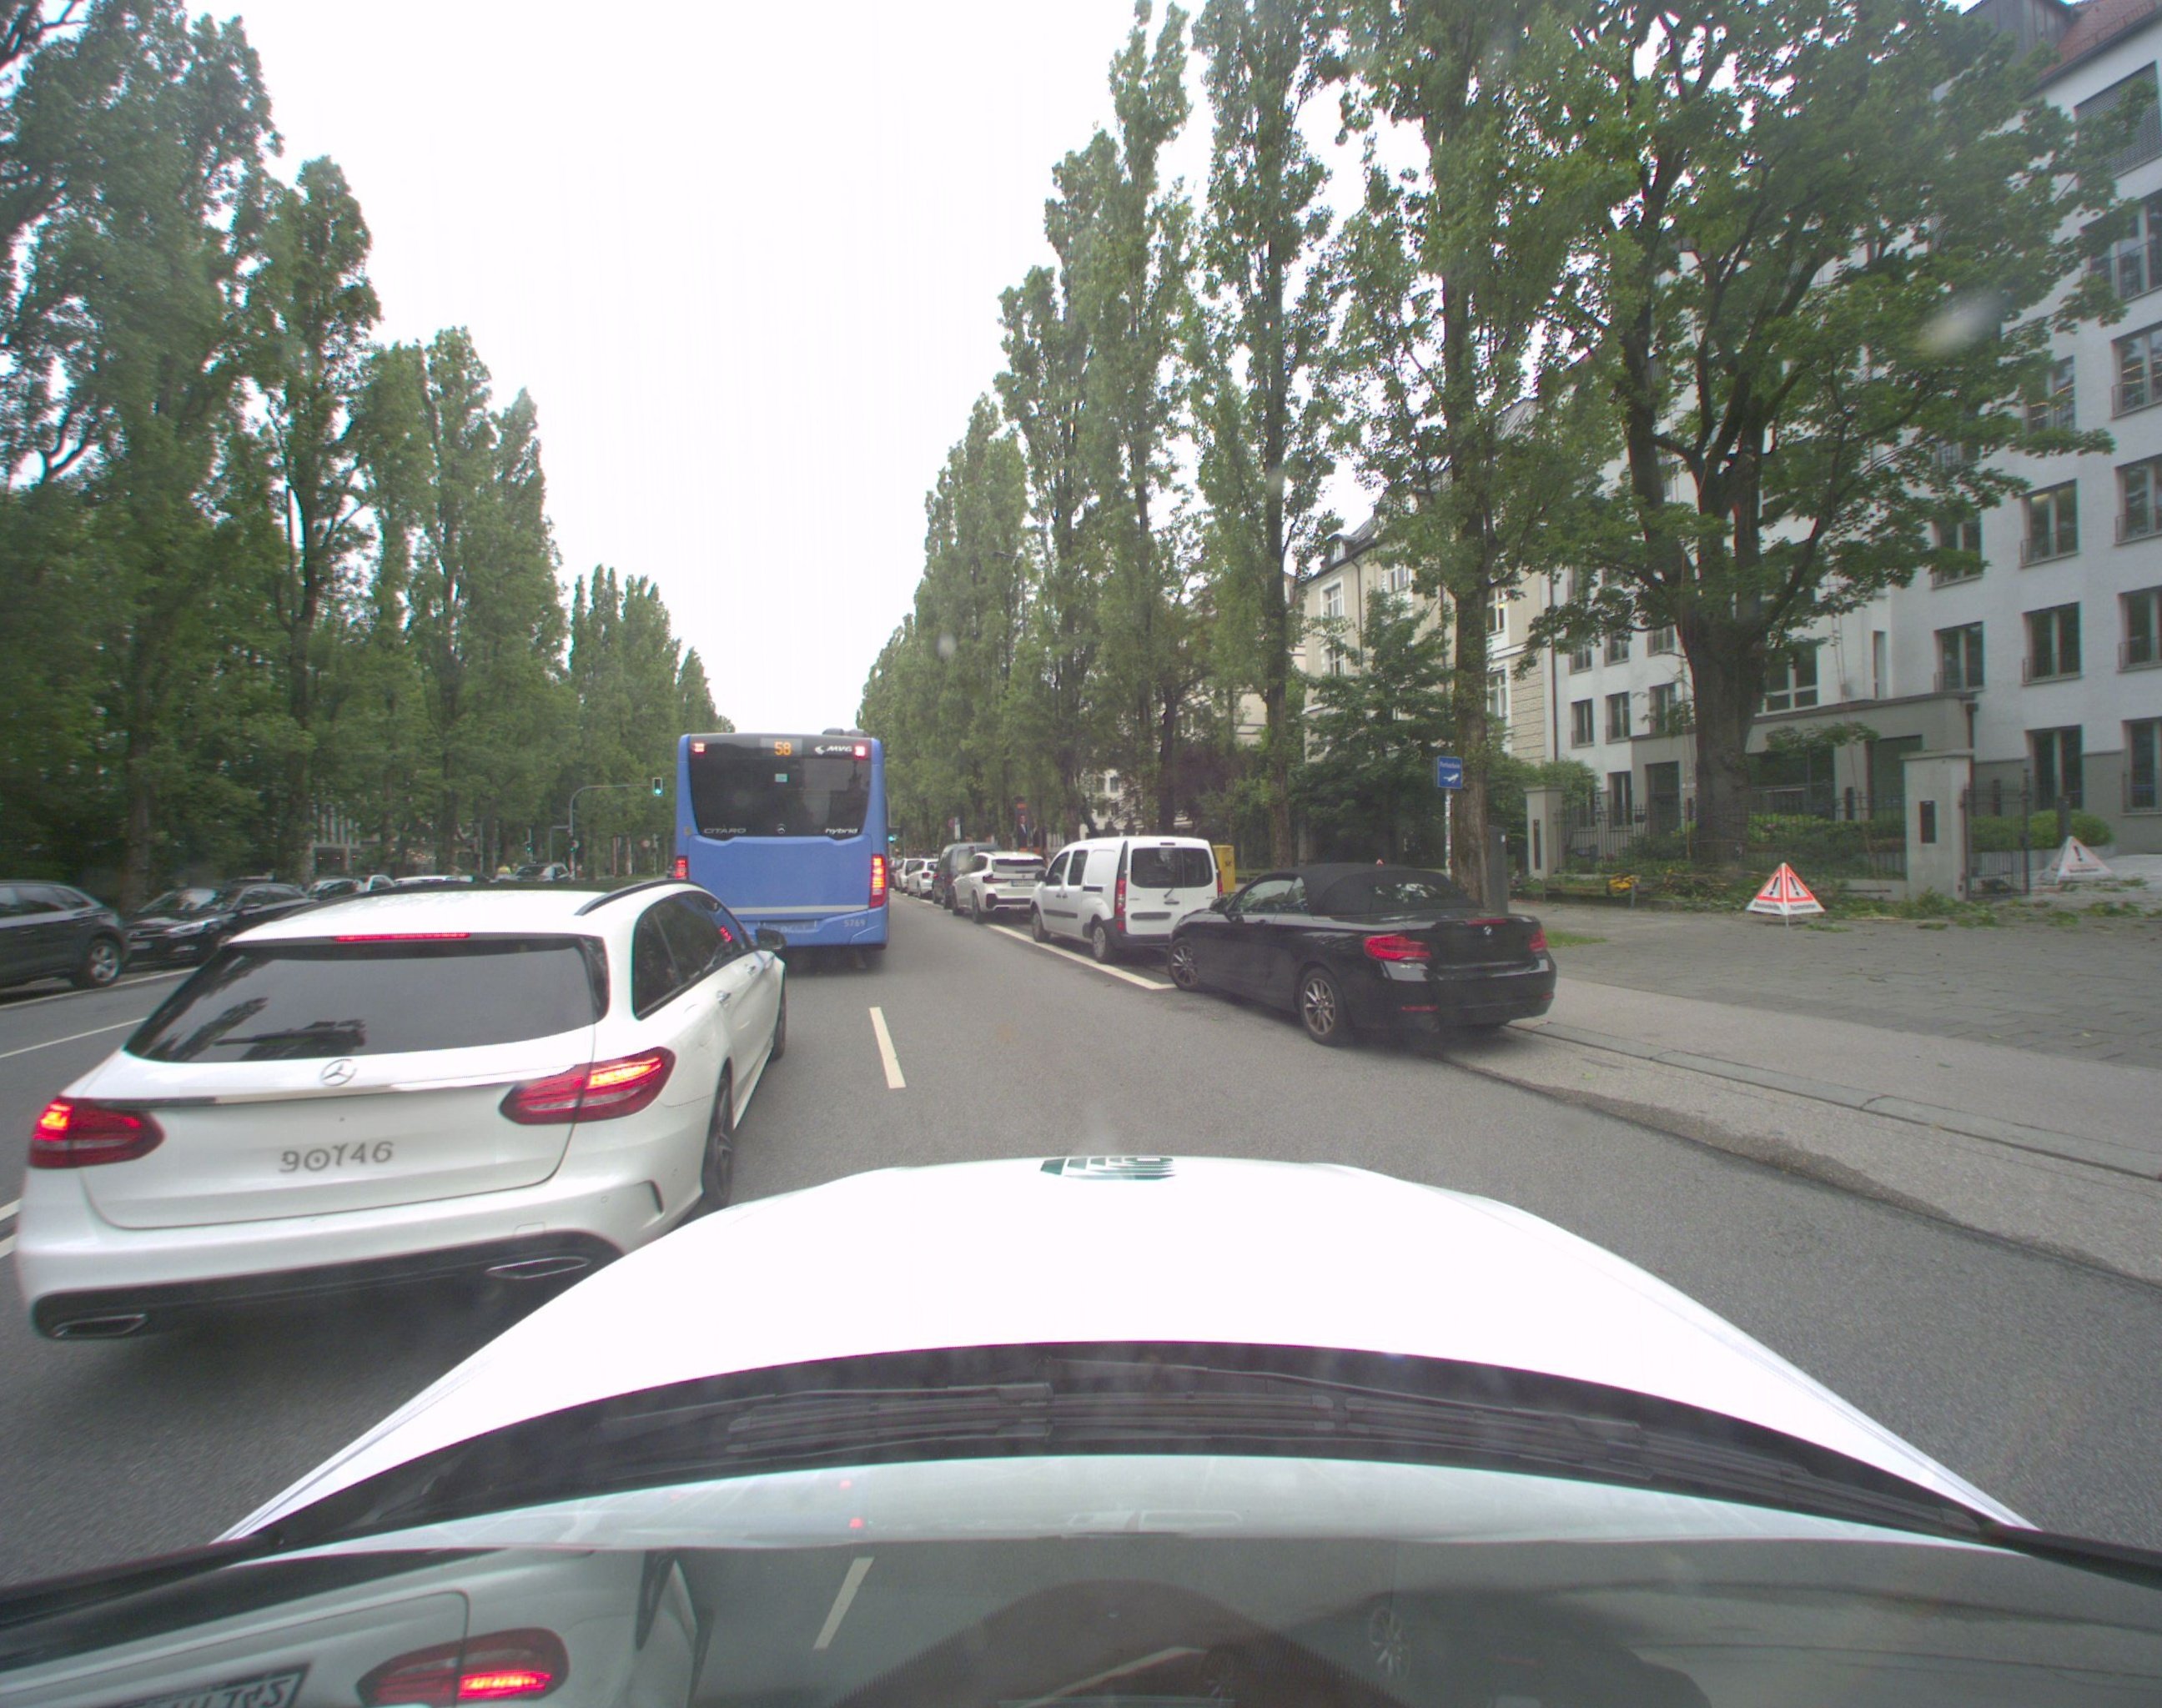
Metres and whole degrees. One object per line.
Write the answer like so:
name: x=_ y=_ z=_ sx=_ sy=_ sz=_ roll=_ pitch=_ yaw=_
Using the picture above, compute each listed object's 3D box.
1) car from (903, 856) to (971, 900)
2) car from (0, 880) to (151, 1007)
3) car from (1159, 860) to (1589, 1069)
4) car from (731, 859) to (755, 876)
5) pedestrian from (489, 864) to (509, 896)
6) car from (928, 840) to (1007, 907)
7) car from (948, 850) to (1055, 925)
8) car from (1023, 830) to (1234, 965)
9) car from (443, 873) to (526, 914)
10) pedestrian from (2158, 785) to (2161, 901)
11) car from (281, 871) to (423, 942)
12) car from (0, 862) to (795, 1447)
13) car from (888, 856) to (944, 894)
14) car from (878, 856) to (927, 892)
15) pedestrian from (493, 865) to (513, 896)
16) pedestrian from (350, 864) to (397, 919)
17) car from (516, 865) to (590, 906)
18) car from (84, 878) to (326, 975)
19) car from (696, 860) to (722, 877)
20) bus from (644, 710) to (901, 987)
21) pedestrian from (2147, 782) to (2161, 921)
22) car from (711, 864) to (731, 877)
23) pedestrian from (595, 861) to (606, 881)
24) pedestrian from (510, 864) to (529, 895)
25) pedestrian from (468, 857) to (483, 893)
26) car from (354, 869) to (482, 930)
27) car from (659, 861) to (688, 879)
car: x=-5.462 y=0.848 z=30.580 sx=1.805 sy=1.475 sz=3.973 roll=-2 pitch=0 yaw=-20
car: x=-14.780 y=1.240 z=10.444 sx=1.797 sy=1.547 sz=4.309 roll=-5 pitch=1 yaw=-20
car: x=2.333 y=0.759 z=7.676 sx=1.751 sy=1.354 sz=3.976 roll=-1 pitch=0 yaw=-18
car: x=-33.893 y=1.340 z=81.787 sx=2.000 sy=1.619 sz=3.973 roll=-2 pitch=0 yaw=-20
pedestrian: x=-33.058 y=1.459 z=46.248 sx=0.705 sy=1.736 sz=0.804 roll=-2 pitch=0 yaw=-21
car: x=-3.492 y=0.539 z=24.521 sx=1.708 sy=1.836 sz=3.976 roll=0 pitch=0 yaw=-18
car: x=-2.017 y=0.712 z=19.582 sx=1.682 sy=1.596 sz=4.061 roll=0 pitch=0 yaw=-19
car: x=0.543 y=0.587 z=12.971 sx=1.839 sy=1.773 sz=4.201 roll=1 pitch=-1 yaw=-20
car: x=-21.609 y=1.389 z=29.639 sx=1.293 sy=1.273 sz=3.824 roll=-2 pitch=0 yaw=-18
pedestrian: x=17.815 y=-0.195 z=12.853 sx=0.775 sy=1.854 sz=0.828 roll=-2 pitch=0 yaw=-25
car: x=-18.496 y=1.253 z=20.834 sx=1.414 sy=1.552 sz=3.422 roll=-2 pitch=0 yaw=-19
car: x=-2.704 y=0.794 z=4.489 sx=1.829 sy=1.454 sz=4.557 roll=-1 pitch=0 yaw=-16
car: x=-7.224 y=0.859 z=35.376 sx=1.792 sy=1.491 sz=3.973 roll=-2 pitch=0 yaw=-20
car: x=-8.860 y=0.940 z=40.237 sx=1.815 sy=1.618 sz=3.972 roll=-2 pitch=0 yaw=-20
pedestrian: x=-38.422 y=1.736 z=54.123 sx=0.833 sy=2.013 sz=0.772 roll=-2 pitch=0 yaw=-22
pedestrian: x=-23.597 y=1.222 z=27.197 sx=0.825 sy=1.764 sz=1.073 roll=-2 pitch=0 yaw=-22
car: x=-22.736 y=1.312 z=35.216 sx=1.712 sy=1.552 sz=3.975 roll=-2 pitch=0 yaw=-19
car: x=-16.785 y=1.284 z=15.892 sx=1.545 sy=1.433 sz=3.843 roll=-5 pitch=1 yaw=-20
car: x=-33.969 y=1.299 z=74.472 sx=1.827 sy=1.486 sz=3.973 roll=-2 pitch=0 yaw=-20
bus: x=-4.761 y=-0.091 z=14.190 sx=2.860 sy=3.213 sz=9.015 roll=-1 pitch=0 yaw=-14
pedestrian: x=14.850 y=-0.041 z=10.575 sx=0.931 sy=1.866 sz=0.775 roll=-2 pitch=0 yaw=9
car: x=-47.477 y=2.150 z=107.484 sx=2.000 sy=1.592 sz=4.414 roll=-2 pitch=0 yaw=-19
pedestrian: x=-50.713 y=1.800 z=85.994 sx=0.834 sy=2.013 sz=0.772 roll=-2 pitch=0 yaw=-23
pedestrian: x=-37.658 y=1.721 z=54.657 sx=0.833 sy=2.013 sz=0.772 roll=-2 pitch=0 yaw=-22
pedestrian: x=-35.044 y=1.199 z=47.125 sx=0.503 sy=2.013 sz=0.597 roll=-2 pitch=0 yaw=-20
car: x=-19.756 y=1.286 z=24.462 sx=1.714 sy=1.548 sz=3.973 roll=-2 pitch=0 yaw=-20
car: x=-36.780 y=1.442 z=73.540 sx=1.827 sy=1.486 sz=3.973 roll=-2 pitch=0 yaw=-20
